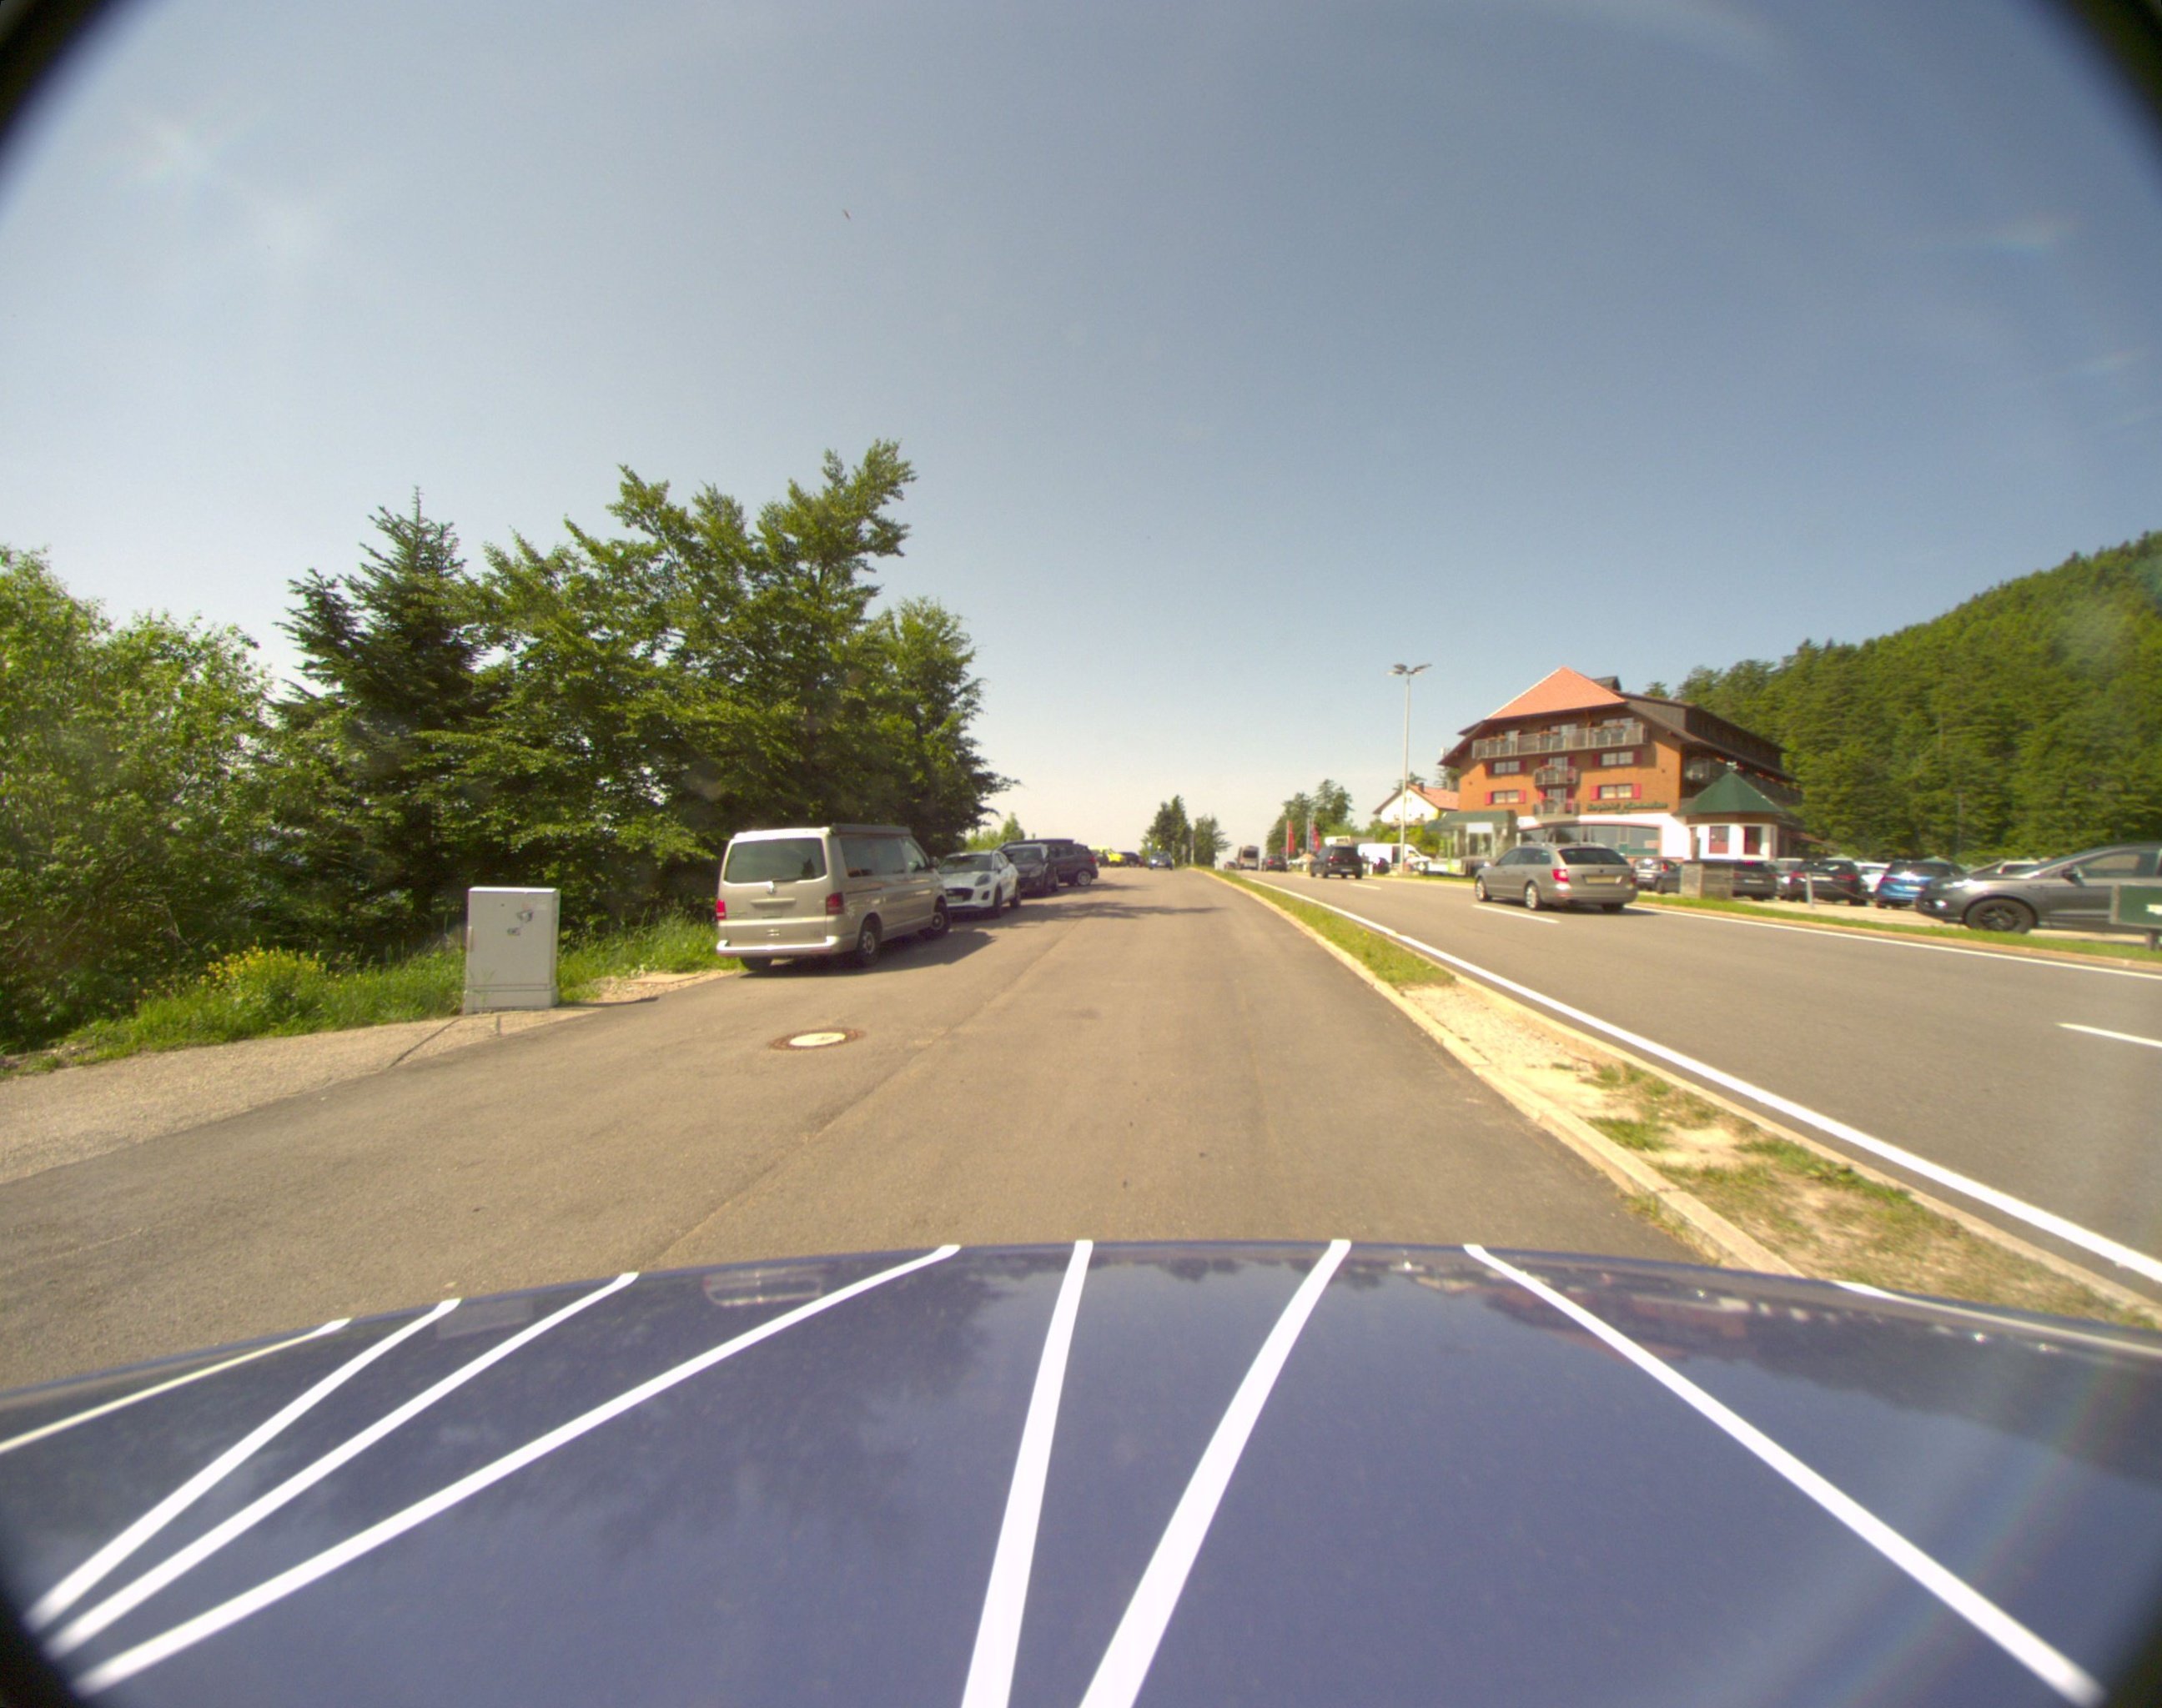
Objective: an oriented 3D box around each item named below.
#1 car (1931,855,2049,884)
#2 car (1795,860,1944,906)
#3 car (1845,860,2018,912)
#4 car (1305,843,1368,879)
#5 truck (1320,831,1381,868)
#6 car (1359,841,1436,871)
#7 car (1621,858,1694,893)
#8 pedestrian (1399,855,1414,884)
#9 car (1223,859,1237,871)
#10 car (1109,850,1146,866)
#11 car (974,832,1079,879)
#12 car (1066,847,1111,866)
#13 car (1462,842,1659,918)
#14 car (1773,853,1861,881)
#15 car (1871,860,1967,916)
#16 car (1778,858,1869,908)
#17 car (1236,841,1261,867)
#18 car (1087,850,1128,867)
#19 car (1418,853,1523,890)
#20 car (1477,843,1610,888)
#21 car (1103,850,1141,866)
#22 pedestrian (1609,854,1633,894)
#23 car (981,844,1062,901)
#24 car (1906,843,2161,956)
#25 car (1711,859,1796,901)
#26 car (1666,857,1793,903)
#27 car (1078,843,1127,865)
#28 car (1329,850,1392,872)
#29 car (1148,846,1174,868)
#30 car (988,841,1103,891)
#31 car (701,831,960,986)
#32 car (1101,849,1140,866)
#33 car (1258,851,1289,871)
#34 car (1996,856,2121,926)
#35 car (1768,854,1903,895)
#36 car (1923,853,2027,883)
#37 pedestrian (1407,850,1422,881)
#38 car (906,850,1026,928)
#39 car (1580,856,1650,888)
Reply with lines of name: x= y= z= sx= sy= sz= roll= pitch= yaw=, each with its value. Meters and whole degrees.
car: x=59.180 y=0.962 z=49.587 sx=1.924 sy=1.706 sz=4.831 roll=0 pitch=2 yaw=-40
car: x=32.015 y=1.124 z=30.949 sx=1.828 sy=1.619 sz=4.082 roll=0 pitch=2 yaw=-41
car: x=31.121 y=1.114 z=27.943 sx=1.828 sy=1.619 sz=4.082 roll=0 pitch=2 yaw=-41
car: x=12.695 y=0.302 z=38.060 sx=1.997 sy=1.638 sz=4.568 roll=1 pitch=1 yaw=6
truck: x=29.776 y=-0.442 z=83.616 sx=2.876 sy=3.798 sz=9.036 roll=-1 pitch=0 yaw=44
car: x=31.554 y=0.124 z=75.824 sx=6.947 sy=2.775 sz=2.671 roll=1 pitch=1 yaw=25
car: x=27.813 y=1.002 z=36.621 sx=4.103 sy=1.504 sz=1.818 roll=0 pitch=2 yaw=-39
pedestrian: x=22.793 y=1.062 z=53.188 sx=0.717 sy=2.002 sz=0.803 roll=0 pitch=1 yaw=5
car: x=22.212 y=1.676 z=113.389 sx=1.720 sy=1.672 sz=4.131 roll=1 pitch=1 yaw=6
car: x=5.223 y=0.451 z=84.878 sx=3.907 sy=1.605 sz=1.877 roll=1 pitch=1 yaw=8
car: x=-2.540 y=0.051 z=34.813 sx=4.462 sy=1.914 sz=1.874 roll=-3 pitch=1 yaw=-14
car: x=0.704 y=0.232 z=69.831 sx=3.907 sy=1.605 sz=1.877 roll=1 pitch=1 yaw=8
car: x=10.546 y=0.482 z=17.212 sx=1.883 sy=1.466 sz=4.715 roll=-1 pitch=1 yaw=6
car: x=50.464 y=0.862 z=52.166 sx=1.924 sy=1.706 sz=4.082 roll=0 pitch=2 yaw=-40
car: x=27.491 y=1.056 z=24.898 sx=4.103 sy=1.619 sz=1.818 roll=0 pitch=2 yaw=-39
car: x=26.959 y=1.002 z=27.557 sx=4.103 sy=1.619 sz=1.818 roll=0 pitch=2 yaw=-39
car: x=18.347 y=-0.034 z=83.472 sx=2.015 sy=2.735 sz=5.919 roll=1 pitch=1 yaw=6
car: x=2.639 y=0.421 z=75.598 sx=3.907 sy=1.605 sz=1.877 roll=1 pitch=1 yaw=8
car: x=19.410 y=0.819 z=38.022 sx=1.828 sy=1.619 sz=4.258 roll=0 pitch=2 yaw=-41
car: x=18.908 y=0.417 z=31.206 sx=1.828 sy=1.619 sz=4.258 roll=0 pitch=2 yaw=-41
car: x=4.356 y=0.384 z=80.894 sx=3.907 sy=1.605 sz=1.877 roll=1 pitch=1 yaw=8
pedestrian: x=22.294 y=0.812 z=31.368 sx=0.744 sy=1.615 sz=0.684 roll=2 pitch=2 yaw=36
car: x=-1.810 y=0.514 z=24.333 sx=1.874 sy=1.609 sz=4.001 roll=-3 pitch=1 yaw=5
car: x=16.542 y=0.697 z=12.112 sx=1.726 sy=1.646 sz=4.538 roll=0 pitch=2 yaw=-43
car: x=27.024 y=0.989 z=30.482 sx=4.103 sy=1.504 sz=1.818 roll=0 pitch=2 yaw=-39
car: x=22.980 y=0.857 z=27.132 sx=1.719 sy=1.422 sz=4.003 roll=2 pitch=1 yaw=13
car: x=2.056 y=-0.024 z=72.414 sx=4.454 sy=1.914 sz=1.877 roll=1 pitch=1 yaw=8
car: x=21.332 y=0.532 z=58.076 sx=4.082 sy=1.518 sz=1.828 roll=2 pitch=2 yaw=45
car: x=6.075 y=0.211 z=57.584 sx=1.874 sy=1.605 sz=3.914 roll=1 pitch=1 yaw=6
car: x=-1.384 y=0.432 z=28.673 sx=4.001 sy=1.609 sz=1.874 roll=-3 pitch=1 yaw=-14
car: x=-3.577 y=0.681 z=11.969 sx=1.860 sy=1.924 sz=4.611 roll=-3 pitch=0 yaw=9
car: x=4.090 y=0.317 z=78.294 sx=3.907 sy=1.605 sz=1.877 roll=1 pitch=1 yaw=8
car: x=15.731 y=0.546 z=62.246 sx=1.710 sy=1.429 sz=4.451 roll=1 pitch=1 yaw=5
car: x=27.245 y=0.958 z=21.314 sx=4.103 sy=1.706 sz=1.914 roll=0 pitch=2 yaw=-40
car: x=33.377 y=0.850 z=33.680 sx=1.828 sy=1.619 sz=4.082 roll=0 pitch=2 yaw=-41
car: x=55.670 y=0.828 z=47.415 sx=1.924 sy=1.706 sz=4.082 roll=0 pitch=2 yaw=-40
pedestrian: x=22.259 y=0.766 z=50.740 sx=0.717 sy=2.002 sz=0.803 roll=0 pitch=1 yaw=5
car: x=-2.611 y=0.745 z=18.210 sx=1.874 sy=1.538 sz=4.001 roll=-3 pitch=1 yaw=5
car: x=27.446 y=0.901 z=39.045 sx=4.103 sy=1.504 sz=1.818 roll=0 pitch=2 yaw=-39
